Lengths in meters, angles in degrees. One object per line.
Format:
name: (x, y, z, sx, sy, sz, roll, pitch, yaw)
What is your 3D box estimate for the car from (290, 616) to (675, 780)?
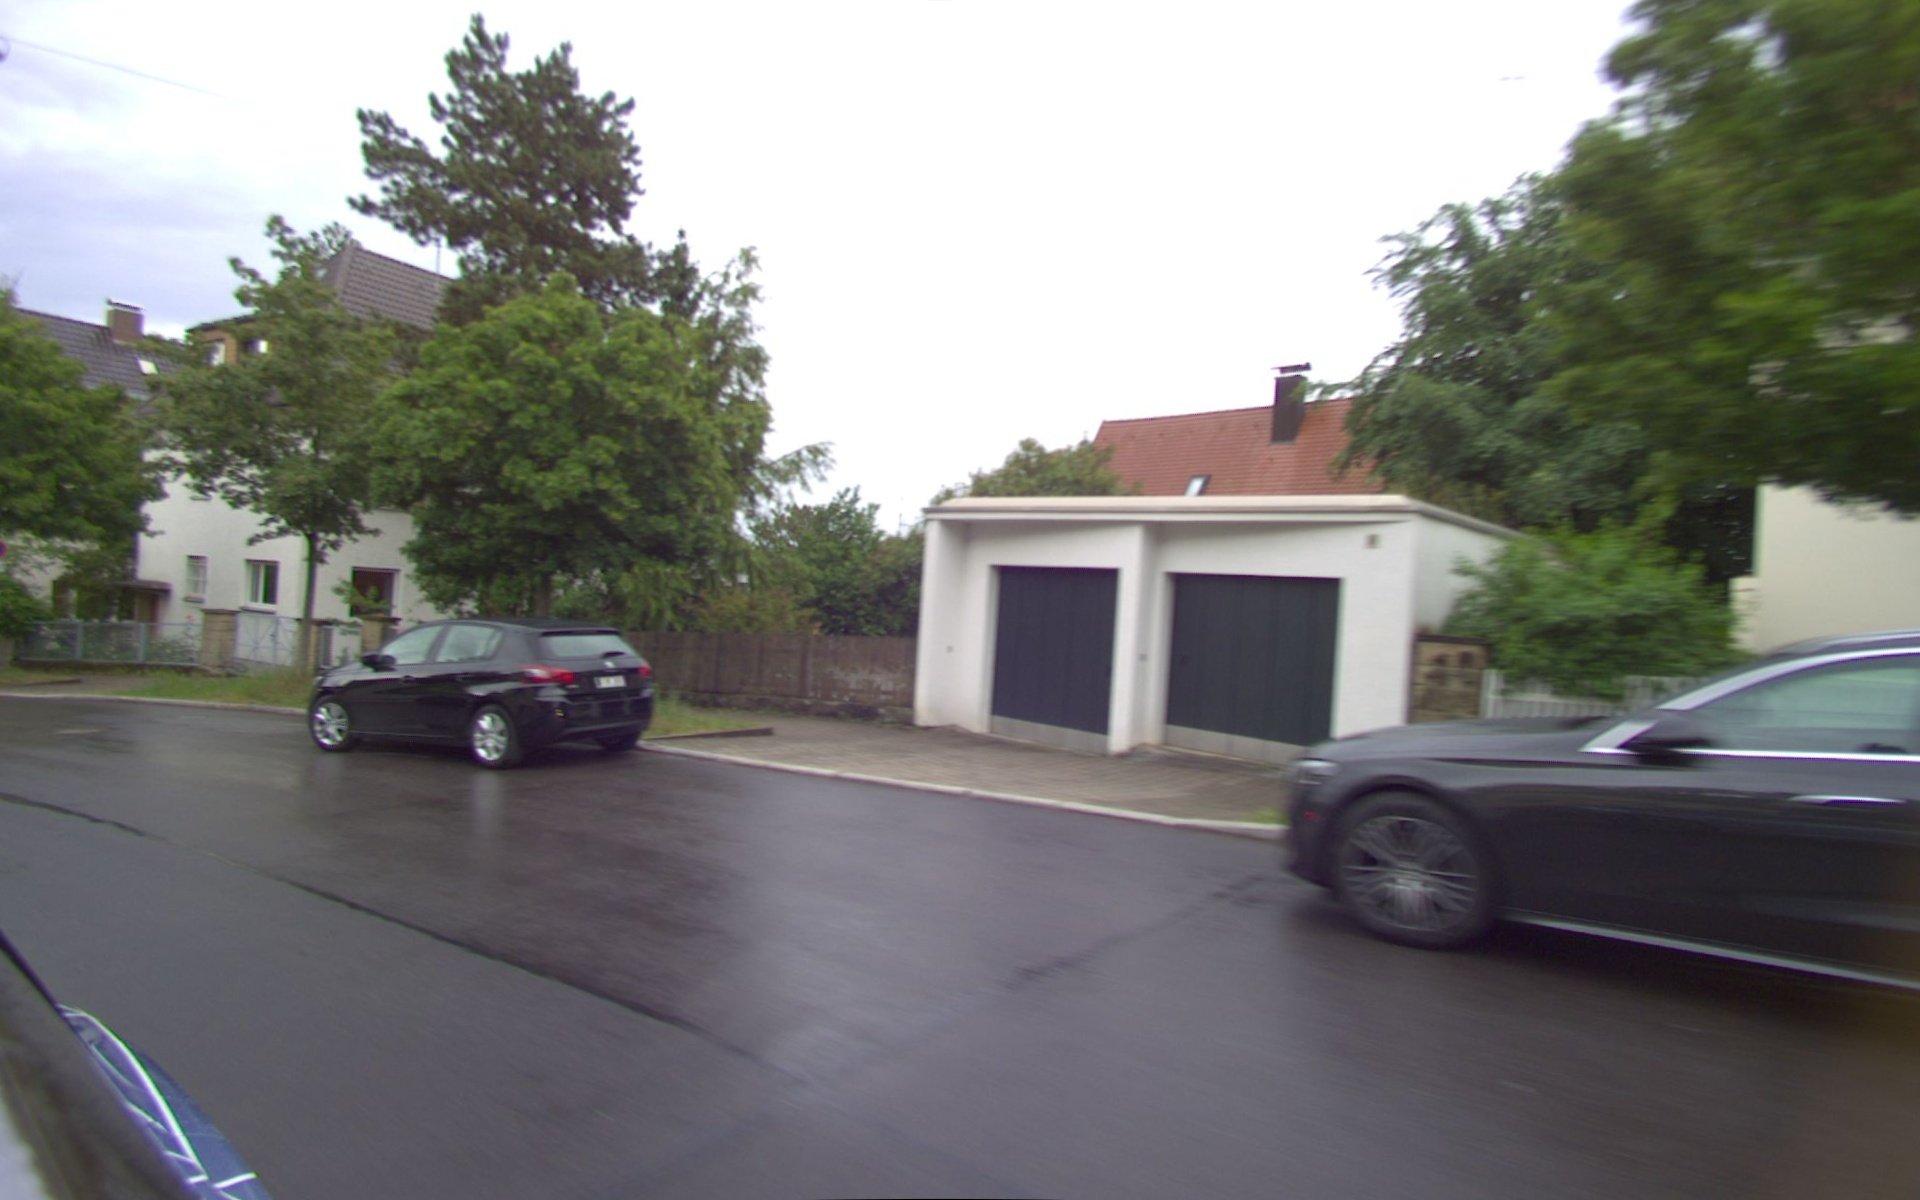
car: (-5.112, 0.933, 10.786, 3.874, 1.477, 1.660, 0, -3, 27)

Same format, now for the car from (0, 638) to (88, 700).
car: (-29.504, 1.937, 30.789, 1.851, 1.596, 3.955, 0, -13, 34)

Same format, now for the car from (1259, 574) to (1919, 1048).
car: (3.864, 0.711, 3.932, 4.906, 1.557, 1.846, -1, -2, 44)
